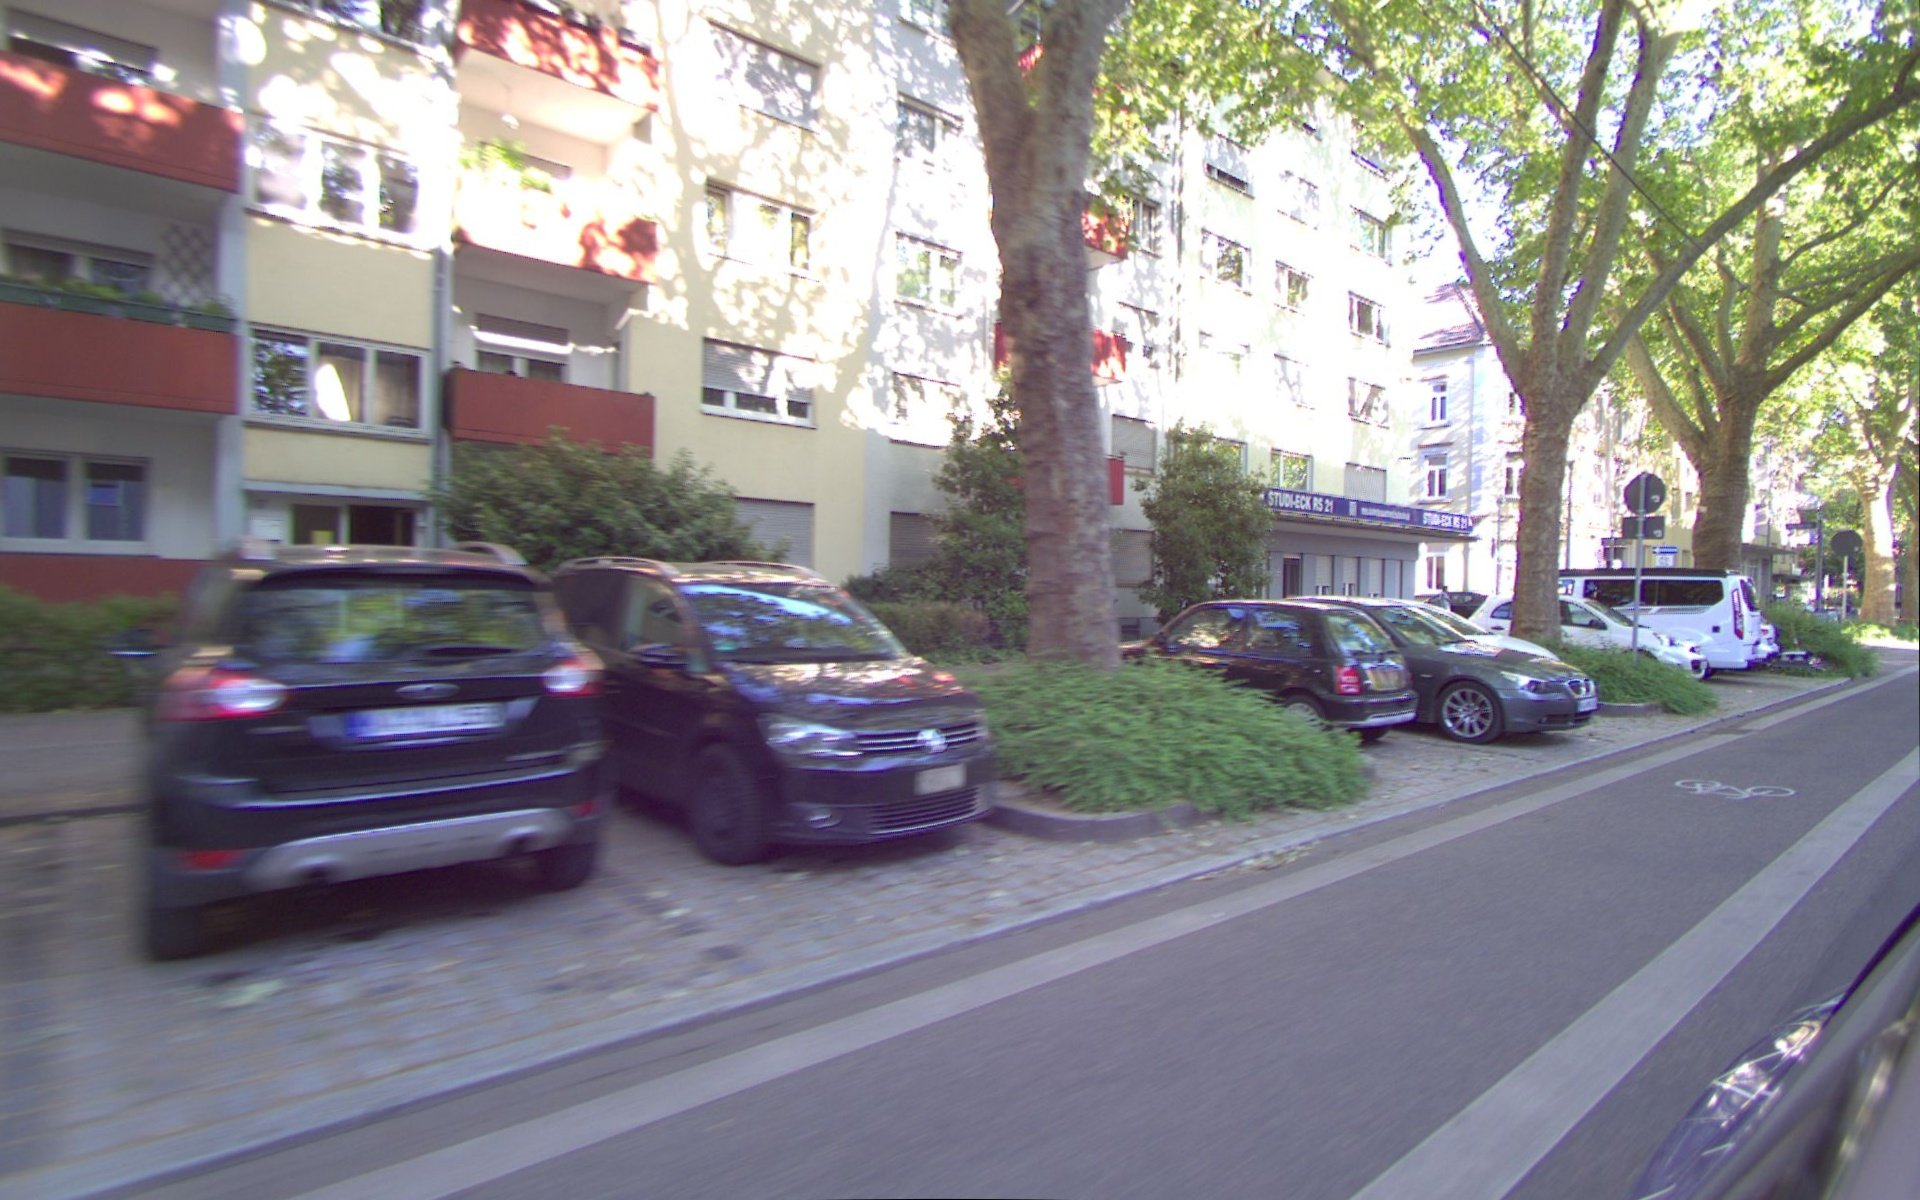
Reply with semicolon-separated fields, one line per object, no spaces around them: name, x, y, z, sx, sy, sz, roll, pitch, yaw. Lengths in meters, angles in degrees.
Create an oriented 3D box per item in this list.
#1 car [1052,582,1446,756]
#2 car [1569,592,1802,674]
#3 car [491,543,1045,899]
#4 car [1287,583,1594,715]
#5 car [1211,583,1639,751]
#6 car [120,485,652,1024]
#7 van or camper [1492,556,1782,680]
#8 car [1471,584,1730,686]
car;2.996;0.590;11.085;1.671;1.461;3.831;0;3;-43
car;14.911;0.601;20.947;1.694;1.457;3.573;0;2;-37
car;-1.586;0.506;6.926;1.714;1.673;4.296;0;2;-43
car;6.566;0.569;14.084;1.615;1.500;3.481;0;2;-40
car;5.298;0.620;12.022;1.877;1.500;4.206;0;2;-39
car;-3.332;0.455;5.428;1.773;1.766;4.002;1;1;-40
van or camper;13.067;0.238;19.742;1.808;2.136;4.381;0;2;-44
car;11.265;0.529;17.946;1.649;1.550;3.568;0;2;-42
